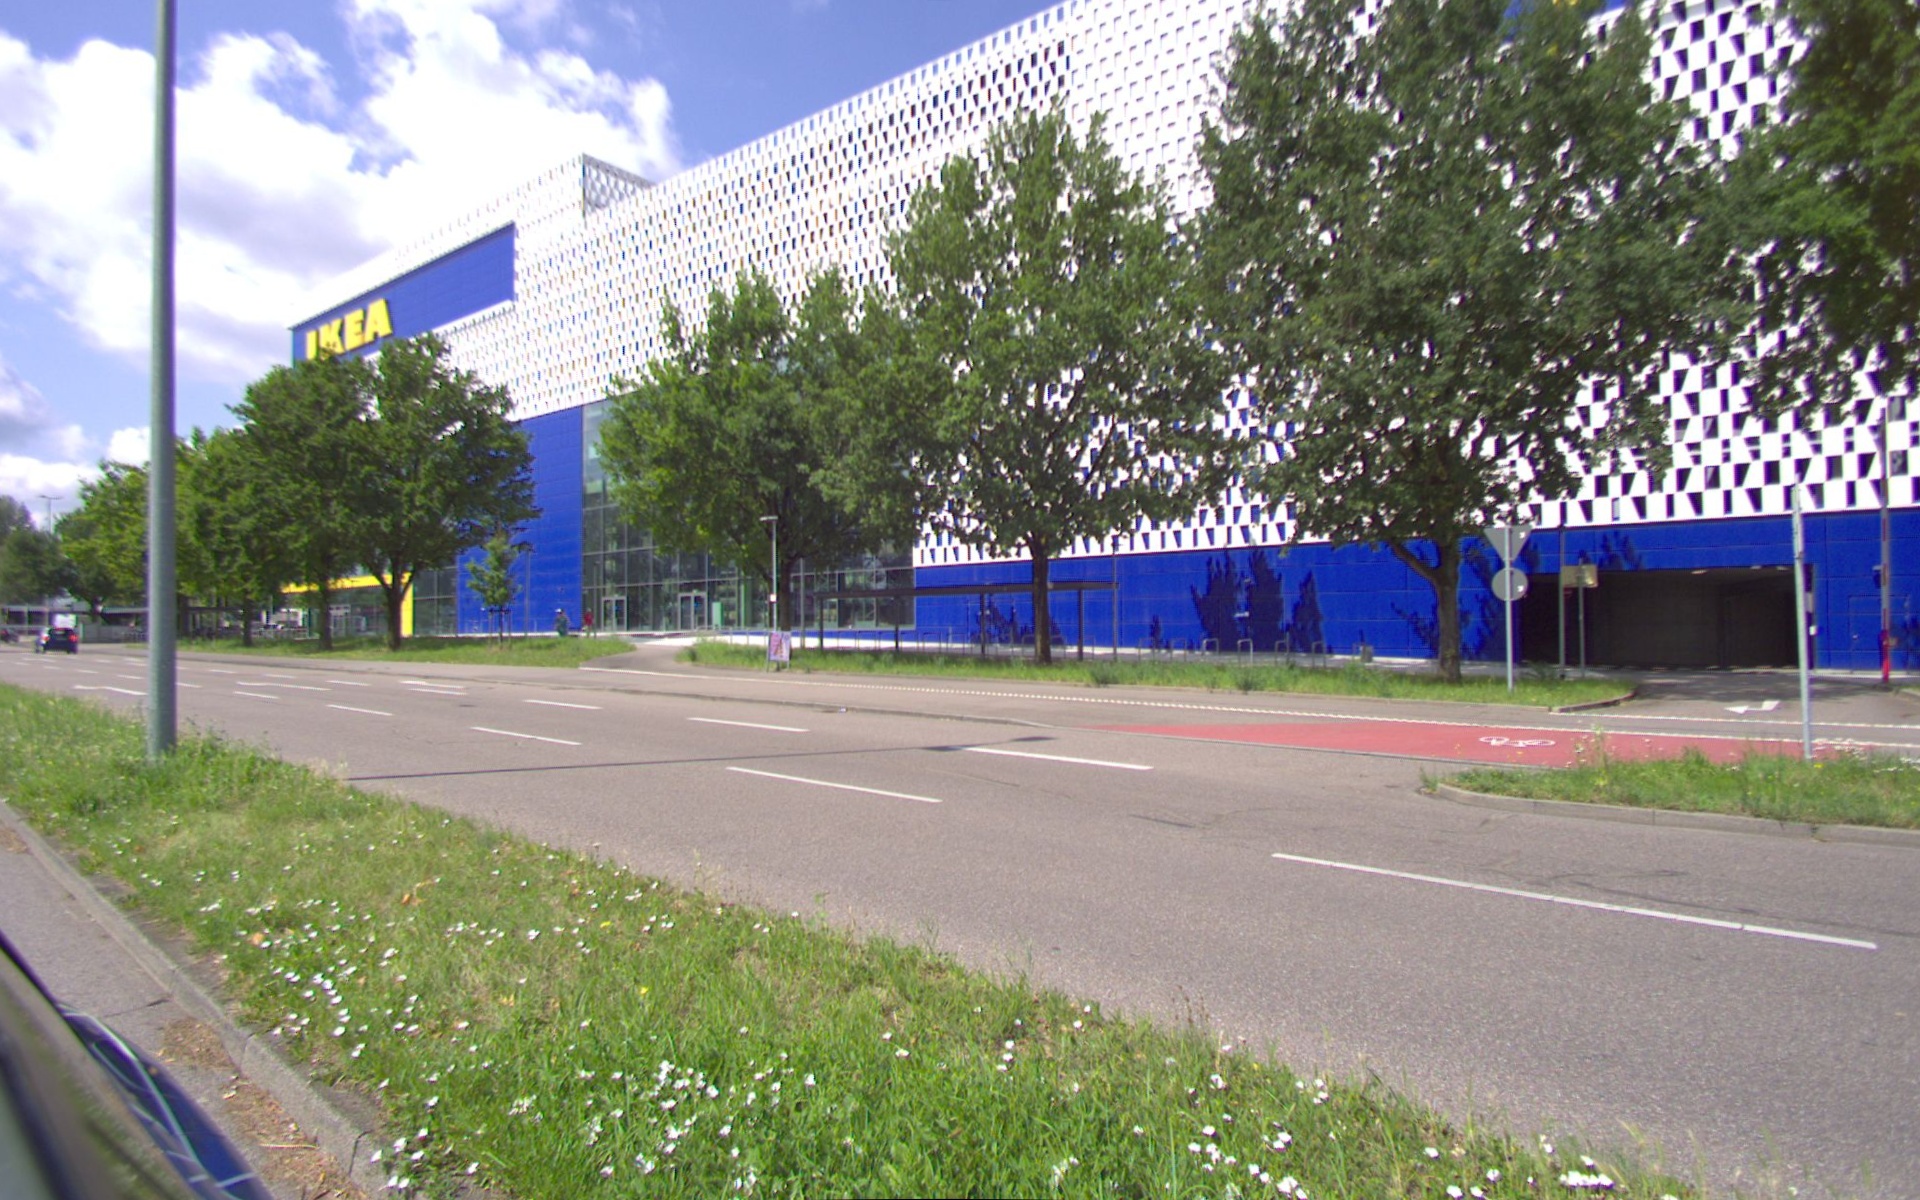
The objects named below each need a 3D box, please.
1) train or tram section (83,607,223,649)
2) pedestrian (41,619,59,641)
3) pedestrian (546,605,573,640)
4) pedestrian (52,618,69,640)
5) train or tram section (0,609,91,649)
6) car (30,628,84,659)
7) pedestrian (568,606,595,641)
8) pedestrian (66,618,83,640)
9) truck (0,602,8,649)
[{"bbox_3d":[-98.616,3.297,124.067,3.727,4.708,12.938,-1,0,38],"label":"train or tram section"},{"bbox_3d":[-88.577,2.875,98.516,0.807,2.110,1.041,-1,0,-8],"label":"pedestrian"},{"bbox_3d":[-20.030,1.121,50.596,1.165,1.741,0.842,-1,0,43],"label":"pedestrian"},{"bbox_3d":[-87.631,2.862,98.634,0.807,2.110,1.041,-1,0,-8],"label":"pedestrian"},{"bbox_3d":[-106.631,3.301,113.819,3.727,4.404,12.937,-1,-2,38],"label":"train or tram section"},{"bbox_3d":[-53.400,2.533,59.825,3.998,1.696,1.916,-1,0,41],"label":"car"},{"bbox_3d":[-19.228,1.191,51.412,1.165,1.741,0.842,-1,0,43],"label":"pedestrian"},{"bbox_3d":[-86.496,2.847,98.838,0.807,2.110,1.041,-1,0,-8],"label":"pedestrian"},{"bbox_3d":[-59.776,1.571,60.816,5.777,2.773,2.936,-1,0,39],"label":"truck"}]
